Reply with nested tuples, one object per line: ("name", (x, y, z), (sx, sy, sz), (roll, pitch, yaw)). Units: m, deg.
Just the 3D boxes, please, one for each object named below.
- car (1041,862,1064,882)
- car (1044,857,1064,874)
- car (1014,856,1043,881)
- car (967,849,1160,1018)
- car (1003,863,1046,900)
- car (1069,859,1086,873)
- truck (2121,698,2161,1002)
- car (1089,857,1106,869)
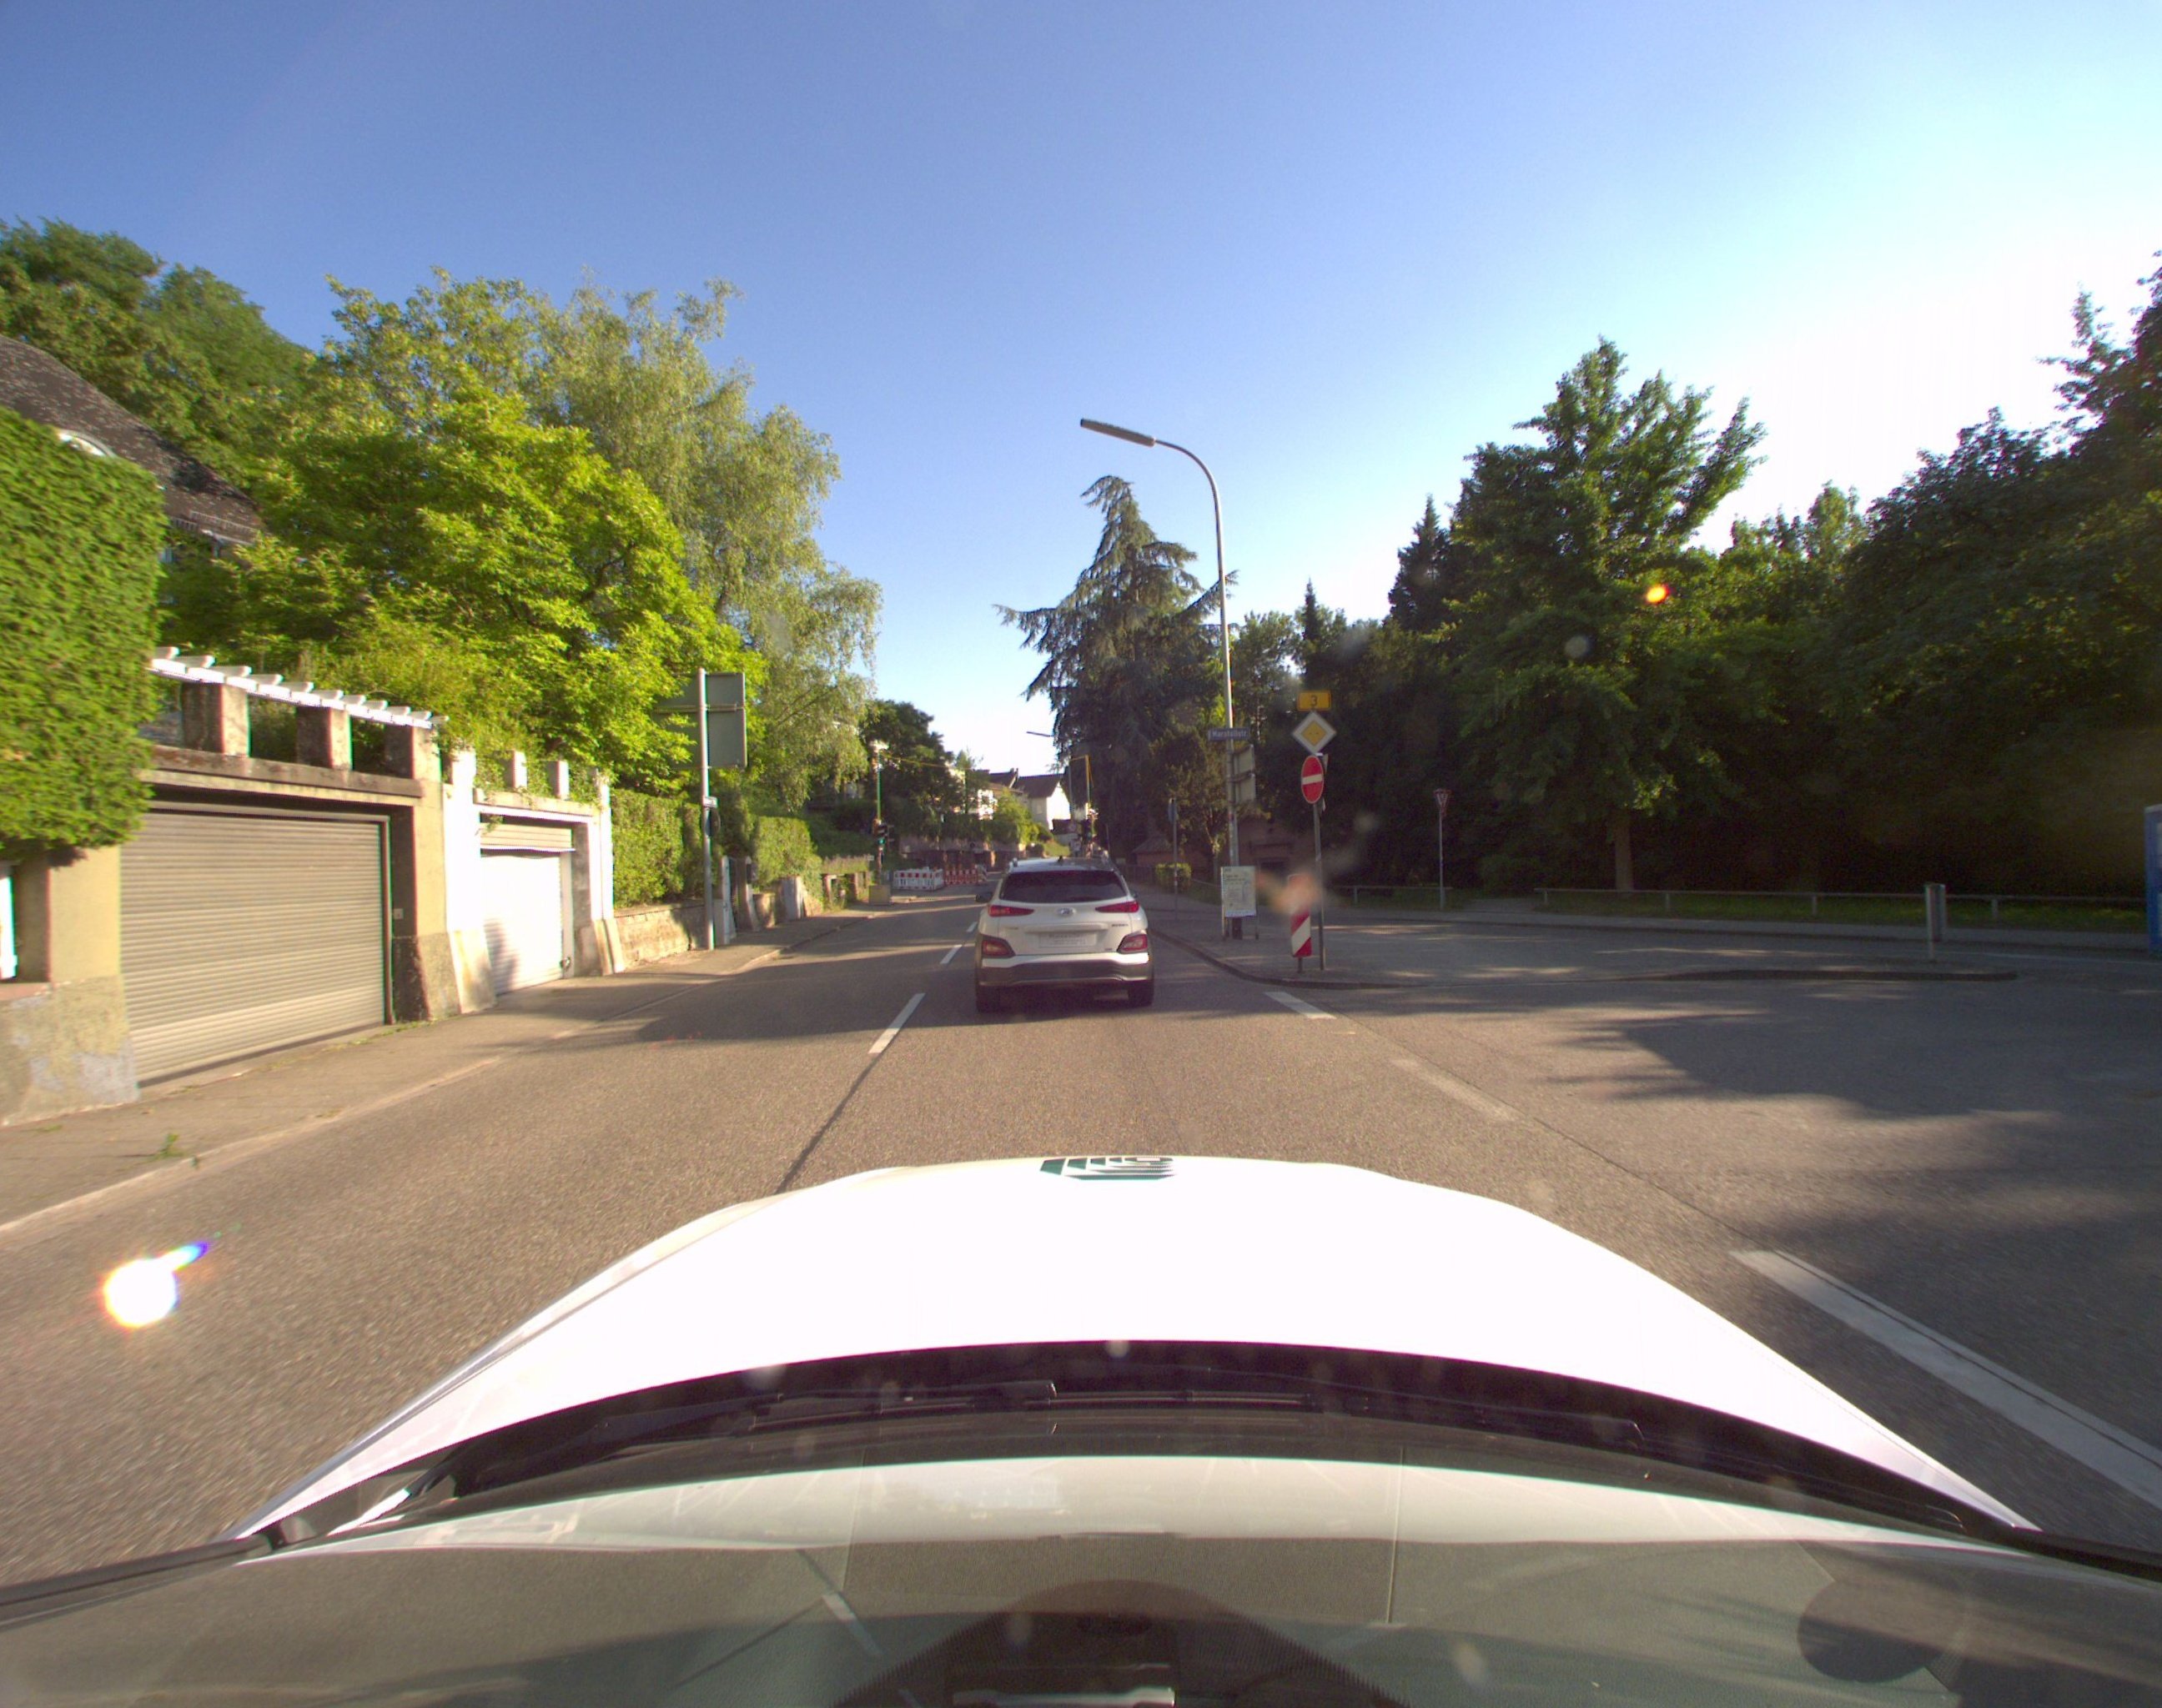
("car", (-2.419, 1.497, 69.530), (1.825, 1.662, 4.000), (0, 0, 0))
("car", (-2.765, 1.166, 84.906), (1.825, 1.741, 4.000), (-1, 0, 1))
("car", (-3.424, 0.899, 52.899), (1.802, 1.537, 3.994), (0, 0, -4))
("car", (-0.196, 0.752, 9.689), (1.815, 1.574, 3.998), (0, 0, -1))
("car", (-2.423, 1.104, 34.490), (1.705, 1.434, 4.357), (0, 0, -5))
("car", (-0.366, 1.499, 100.886), (1.823, 1.662, 4.004), (-1, 0, 4))
("truck", (13.147, -0.061, 5.981), (6.534, 2.895, 2.445), (0, 0, 18))
("car", (2.348, 1.205, 114.958), (1.822, 1.662, 4.008), (-1, 0, 7))
